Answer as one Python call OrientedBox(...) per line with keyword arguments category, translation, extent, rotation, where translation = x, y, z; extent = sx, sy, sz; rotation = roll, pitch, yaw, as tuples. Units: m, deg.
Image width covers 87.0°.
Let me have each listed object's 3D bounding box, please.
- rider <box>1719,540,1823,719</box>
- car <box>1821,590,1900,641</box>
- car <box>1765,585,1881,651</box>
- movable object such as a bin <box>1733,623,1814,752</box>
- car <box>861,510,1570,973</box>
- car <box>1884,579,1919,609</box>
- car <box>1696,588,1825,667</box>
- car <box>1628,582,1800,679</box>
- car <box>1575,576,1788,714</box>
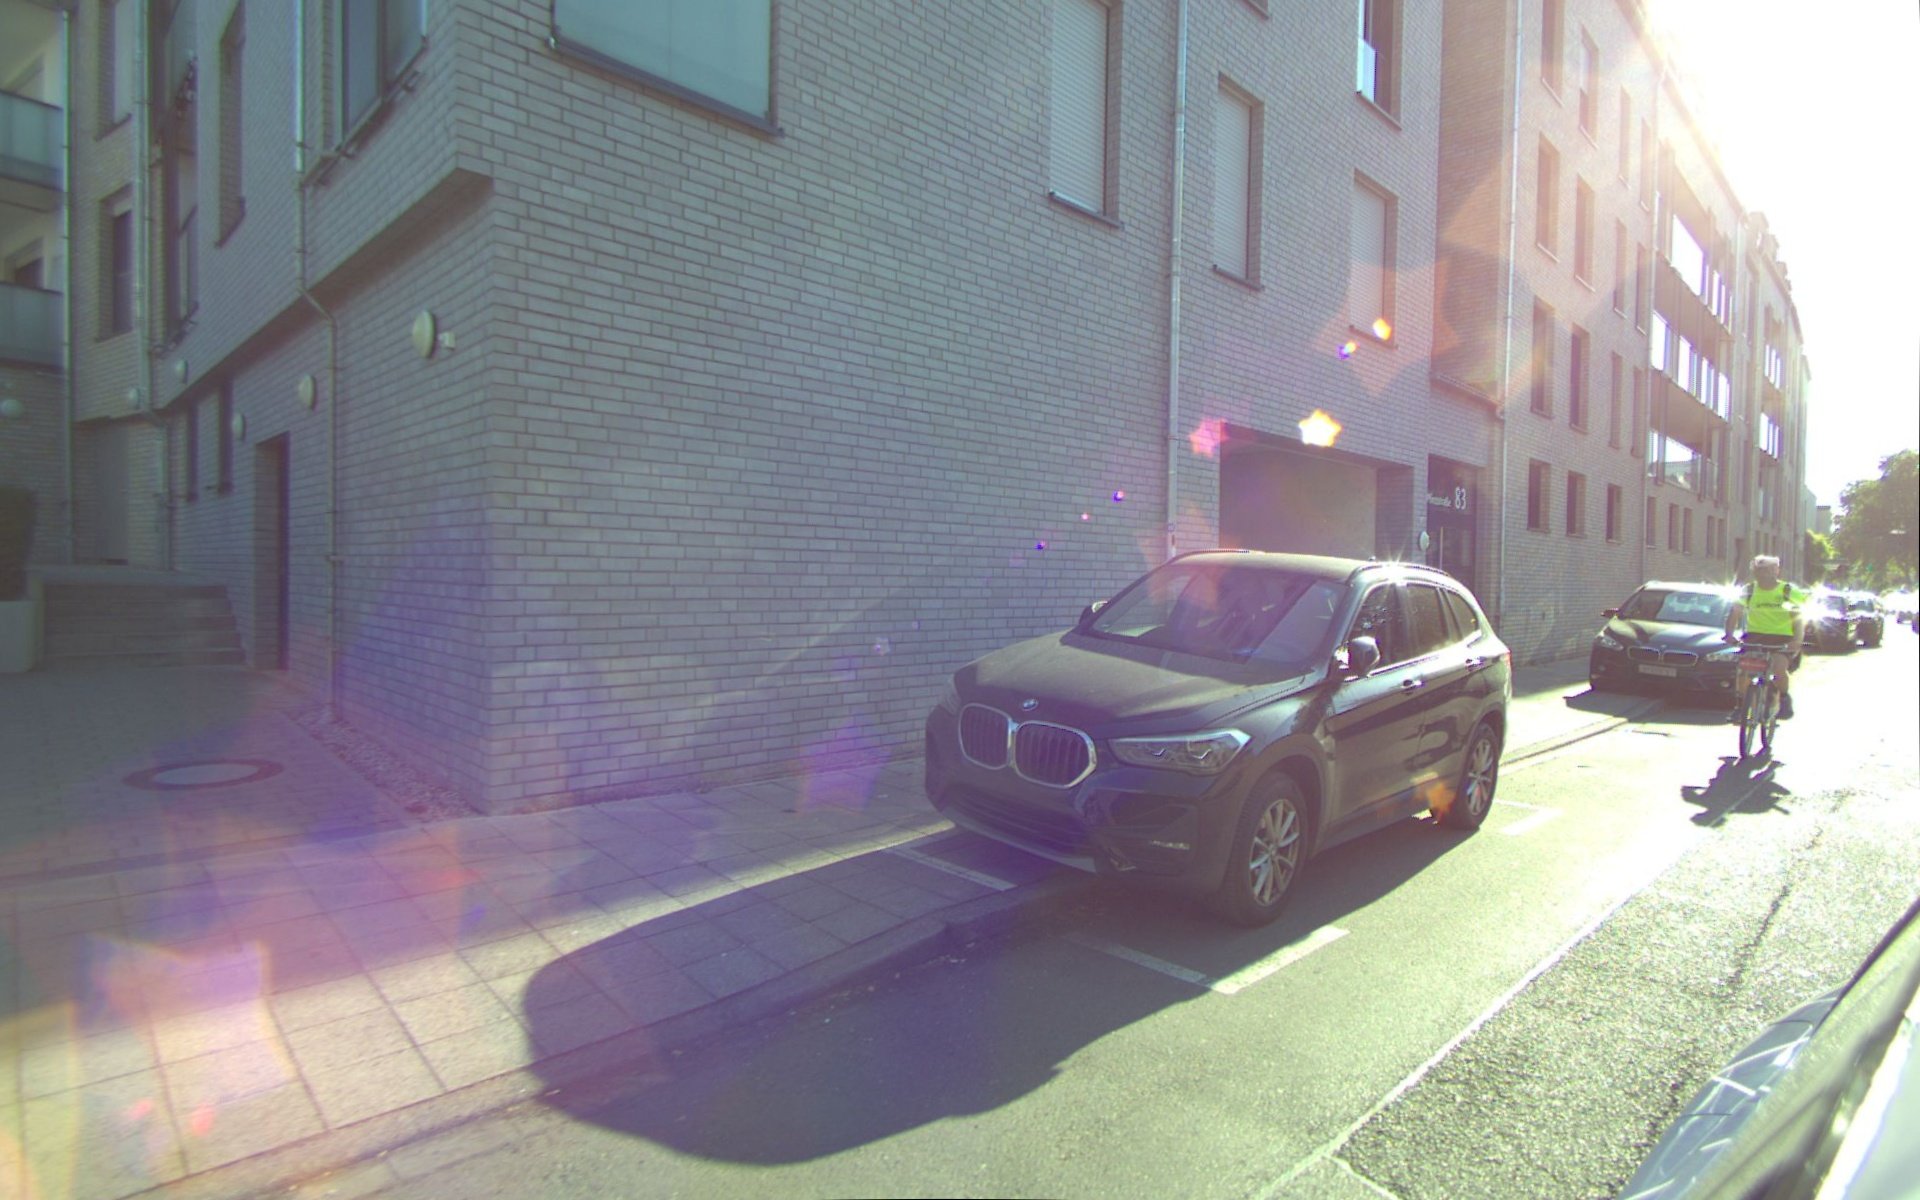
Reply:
OrientedBox(category="rider", translation=(7.681, 0.247, 9.575), extent=(0.653, 1.581, 1.067), rotation=(-2, 0, 43))
OrientedBox(category="car", translation=(29.585, 0.462, 33.218), extent=(1.816, 1.484, 4.204), rotation=(3, 3, 43))
OrientedBox(category="car", translation=(25.102, 0.479, 29.375), extent=(4.690, 1.733, 1.893), rotation=(0, 1, -41))
OrientedBox(category="movable object such as a bin", translation=(7.808, 0.785, 9.688), extent=(0.454, 1.046, 1.812), rotation=(-2, 1, 43))
OrientedBox(category="car", translation=(1.806, 0.458, 5.915), extent=(4.547, 1.656, 1.857), rotation=(0, 4, -45))
OrientedBox(category="car", translation=(50.149, -0.352, 53.541), extent=(1.816, 1.484, 4.204), rotation=(3, 3, 43))
OrientedBox(category="car", translation=(17.534, 0.526, 22.110), extent=(1.714, 1.421, 4.008), rotation=(7, 6, 44))
OrientedBox(category="car", translation=(14.045, 0.484, 18.755), extent=(1.994, 1.524, 4.297), rotation=(3, 2, 44))
OrientedBox(category="car", translation=(10.755, 0.548, 14.929), extent=(1.993, 1.673, 4.689), rotation=(3, 2, 42))
